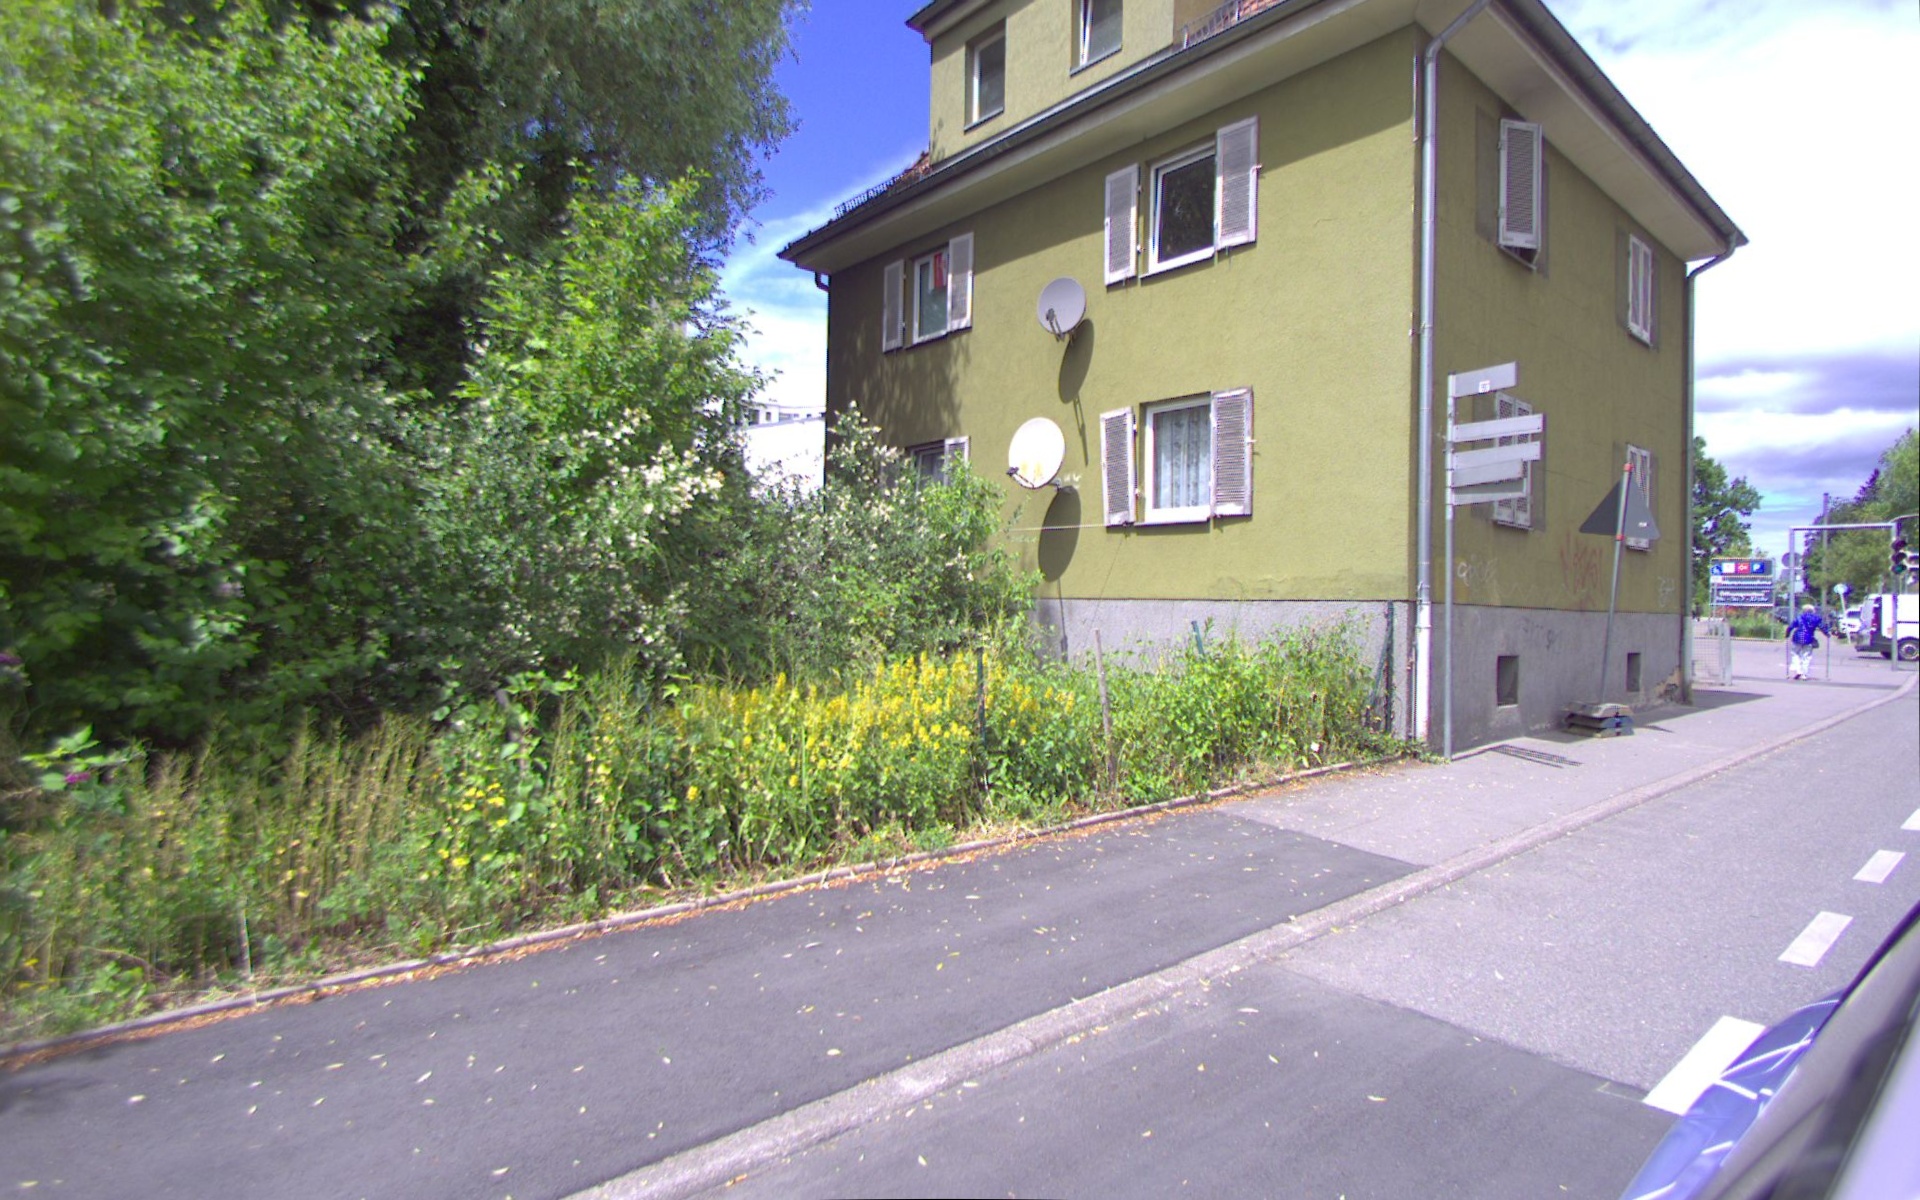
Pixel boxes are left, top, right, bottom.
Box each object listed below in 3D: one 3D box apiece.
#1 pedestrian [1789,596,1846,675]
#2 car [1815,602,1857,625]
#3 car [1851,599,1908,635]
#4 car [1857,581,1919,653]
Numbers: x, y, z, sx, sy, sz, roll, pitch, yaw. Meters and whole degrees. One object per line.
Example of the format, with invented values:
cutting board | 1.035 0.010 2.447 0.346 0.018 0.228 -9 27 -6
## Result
pedestrian | 18.039 0.723 21.279 0.824 1.592 0.972 2 1 44
car | 61.213 0.931 70.761 1.694 1.551 3.951 -1 -1 34
car | 44.231 0.776 48.753 1.788 1.549 3.864 4 2 40
car | 29.489 0.521 29.038 5.313 2.049 1.976 1 1 33
